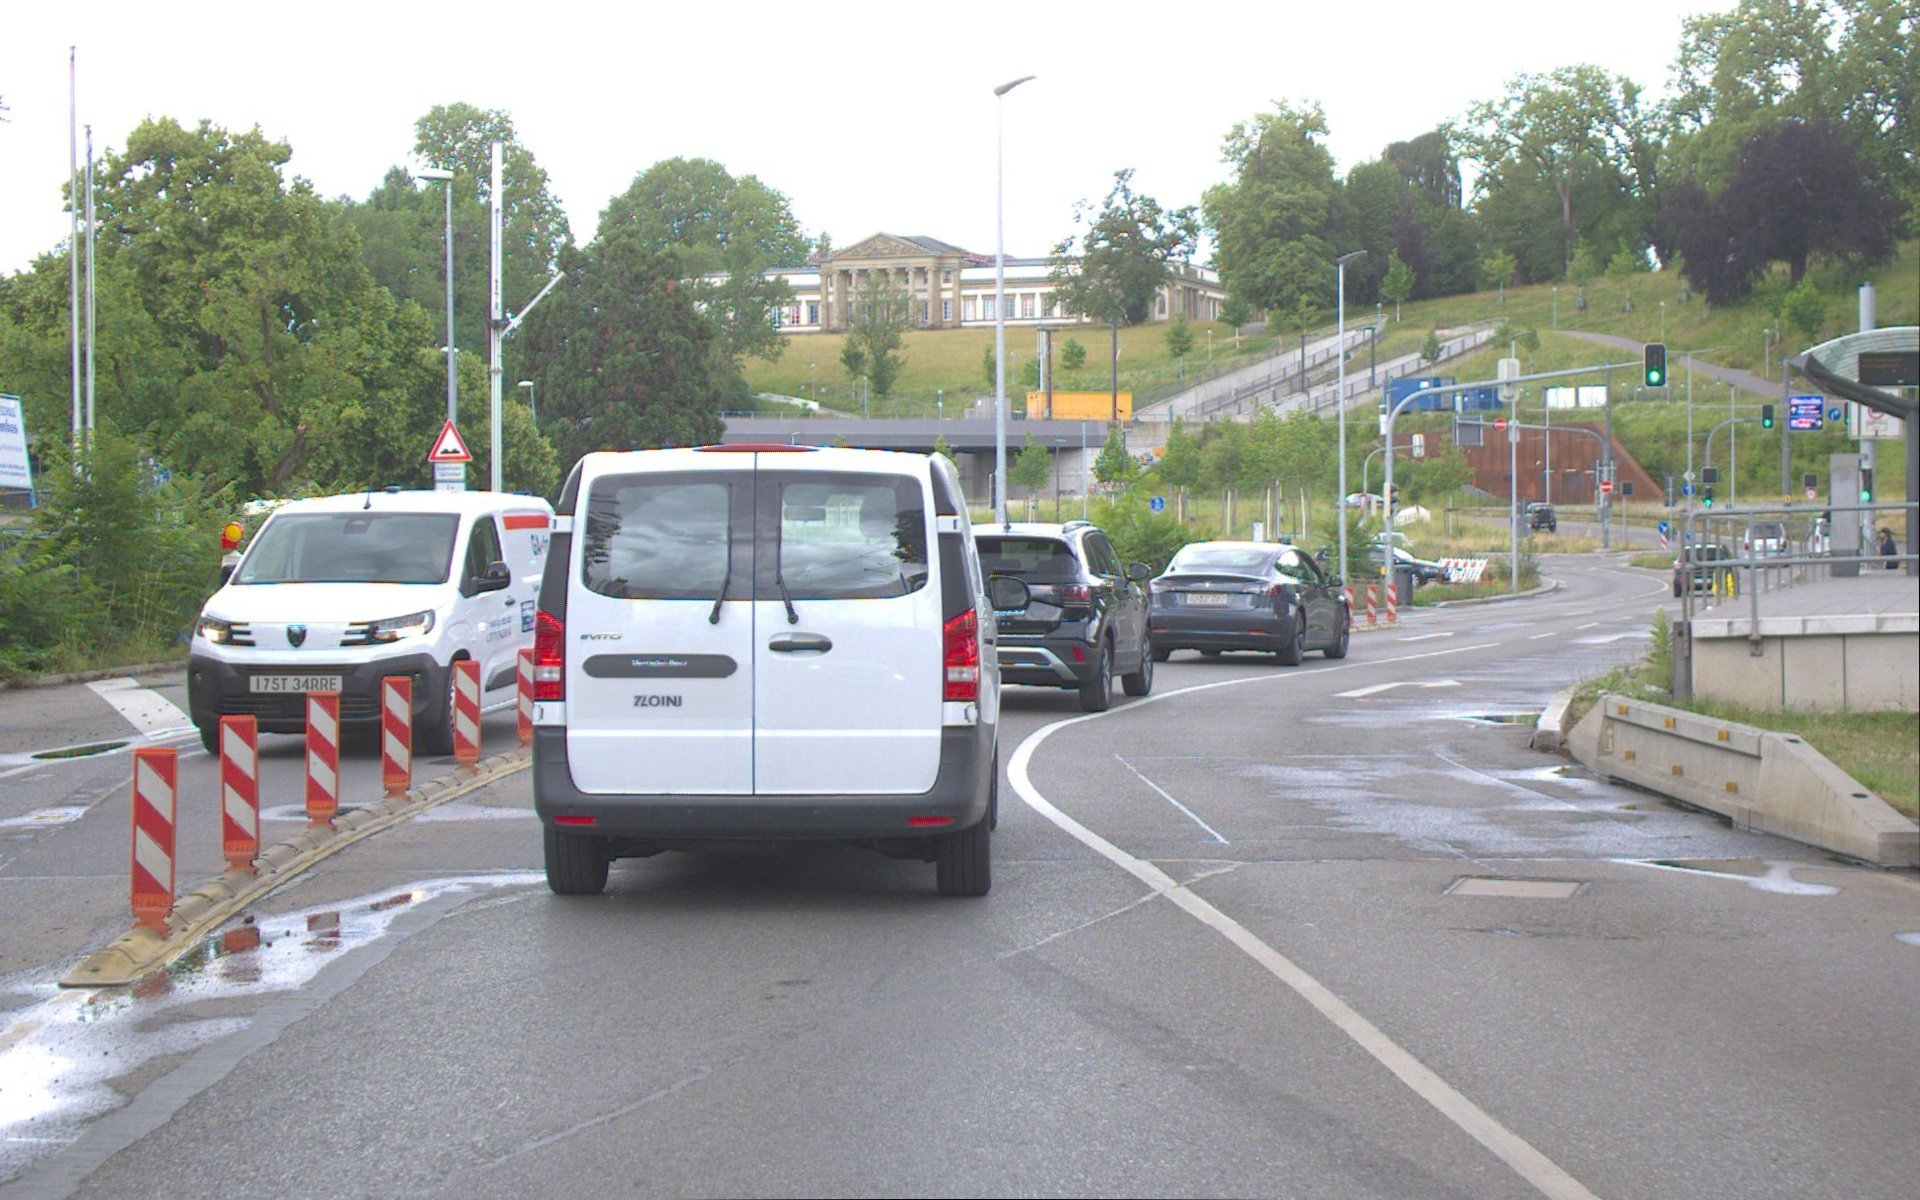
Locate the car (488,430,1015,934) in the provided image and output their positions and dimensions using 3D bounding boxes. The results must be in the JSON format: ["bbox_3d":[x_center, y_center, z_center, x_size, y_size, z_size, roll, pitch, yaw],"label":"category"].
[{"bbox_3d":[-0.772,0.262,15.494,1.959,1.897,4.461,1,1,1],"label":"car"}]

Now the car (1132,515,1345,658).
[{"bbox_3d":[3.383,-0.193,41.120,1.839,1.577,4.060,2,1,14],"label":"car"}]

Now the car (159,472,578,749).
[{"bbox_3d":[-4.093,-0.014,24.602,1.863,1.776,4.748,0,2,4],"label":"car"}]

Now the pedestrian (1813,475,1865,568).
[{"bbox_3d":[15.017,-1.344,58.725,0.751,1.548,0.774,2,3,19],"label":"pedestrian"}]

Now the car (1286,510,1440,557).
[{"bbox_3d":[13.519,-2.222,115.310,4.716,1.472,1.997,0,2,27],"label":"car"}]

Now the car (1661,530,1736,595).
[{"bbox_3d":[21.313,-1.107,99.126,1.995,1.766,3.998,2,1,13],"label":"car"}]

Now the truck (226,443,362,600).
[{"bbox_3d":[-15.240,-1.821,78.836,2.792,3.324,8.481,-2,2,-11],"label":"truck"}]

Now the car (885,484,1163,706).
[{"bbox_3d":[0.625,-0.086,29.529,1.839,1.723,4.061,2,1,9],"label":"car"}]
